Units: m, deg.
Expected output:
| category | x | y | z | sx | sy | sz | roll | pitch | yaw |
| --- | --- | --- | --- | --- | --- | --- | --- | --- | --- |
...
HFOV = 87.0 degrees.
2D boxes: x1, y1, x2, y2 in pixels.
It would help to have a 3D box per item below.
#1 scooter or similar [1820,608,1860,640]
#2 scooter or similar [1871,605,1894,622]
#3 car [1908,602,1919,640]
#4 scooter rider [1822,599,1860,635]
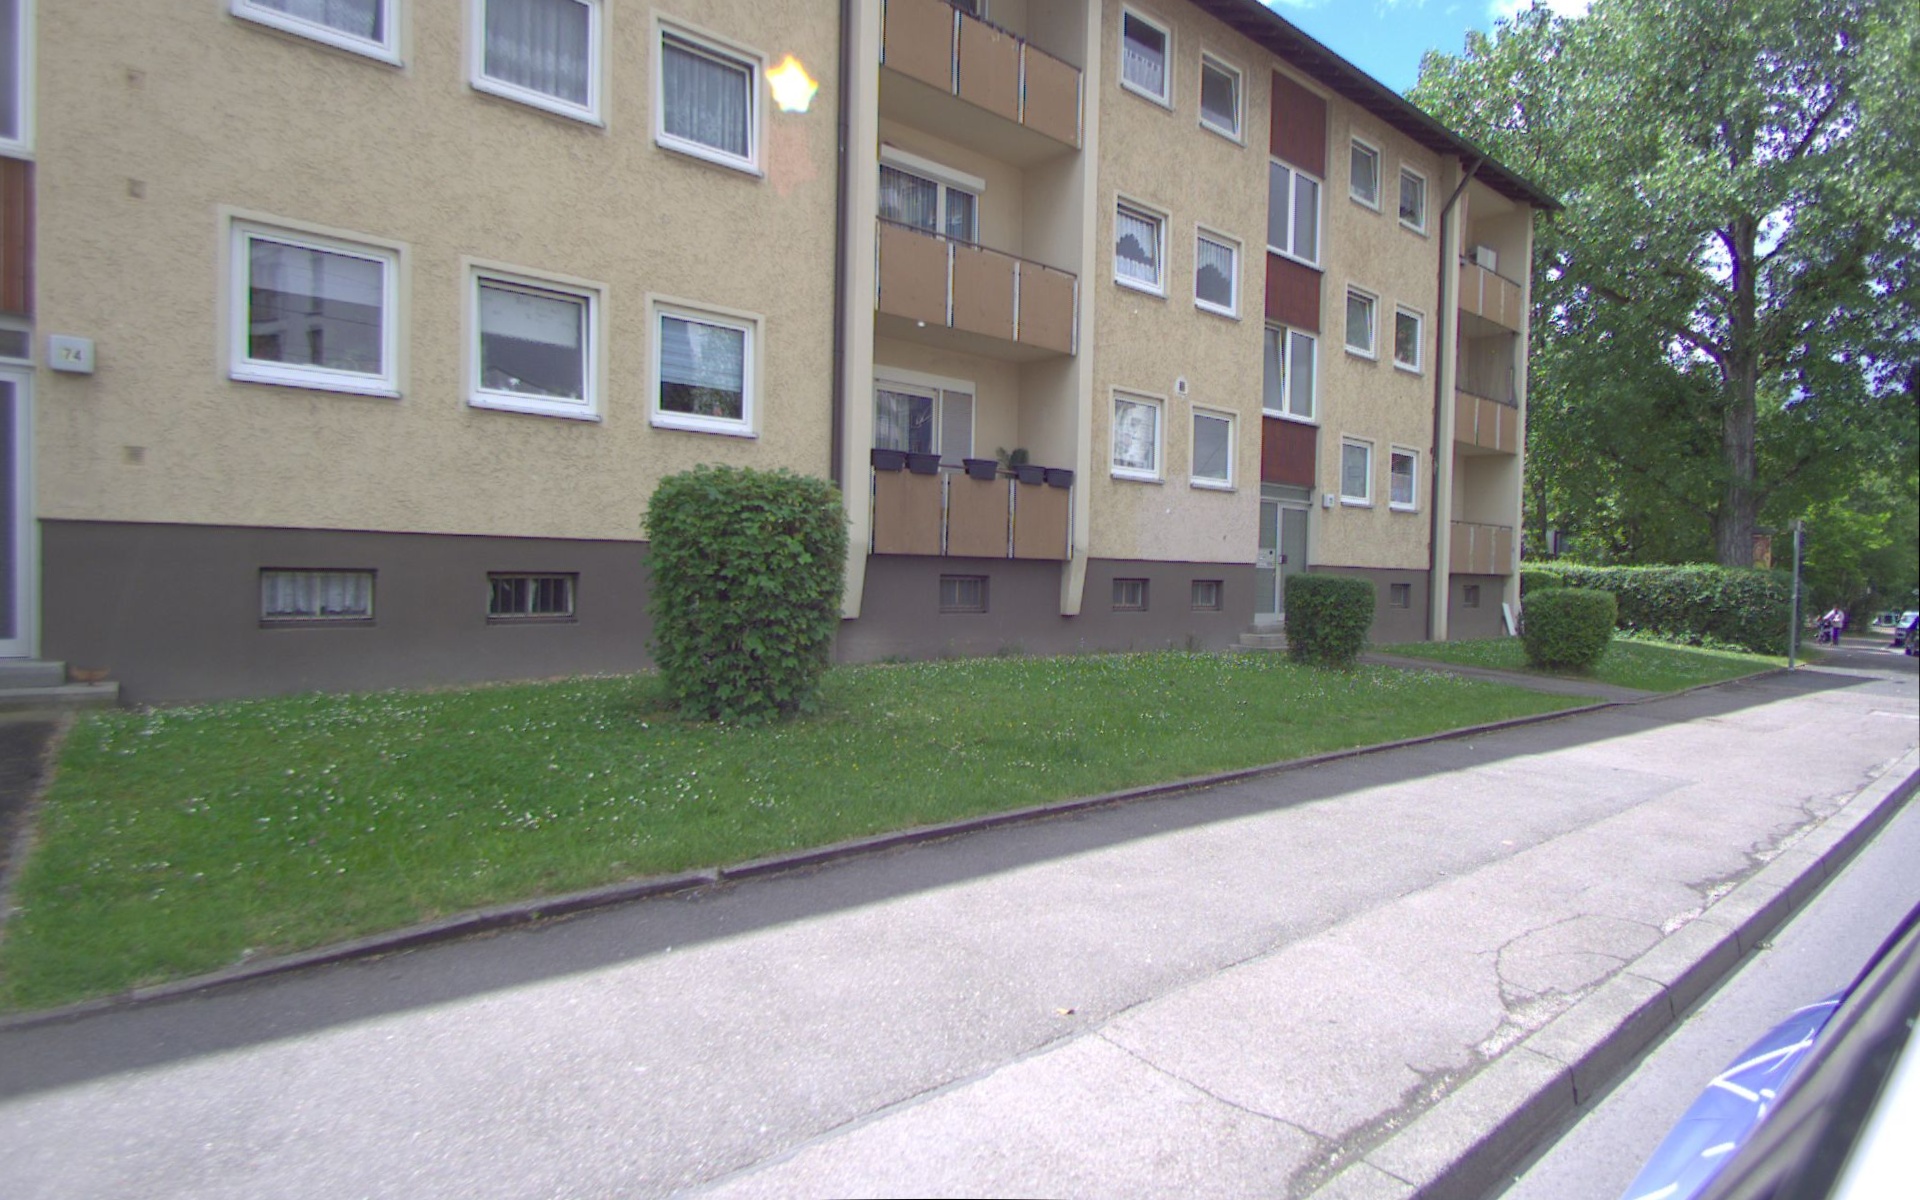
| category | x | y | z | sx | sy | sz | roll | pitch | yaw |
| --- | --- | --- | --- | --- | --- | --- | --- | --- | --- |
| scooter or similar | 32.543 | 0.906 | 37.403 | 2.078 | 1.077 | 0.891 | 2 | 1 | -44 |
| scooter or similar | 73.693 | 1.057 | 80.849 | 1.198 | 1.250 | 0.475 | 4 | 1 | 24 |
| car | 41.966 | 0.960 | 43.426 | 1.785 | 1.584 | 4.497 | 5 | 2 | 44 |
| scooter rider | 32.504 | 0.618 | 37.354 | 1.260 | 1.235 | 0.886 | 3 | 1 | -44 |
